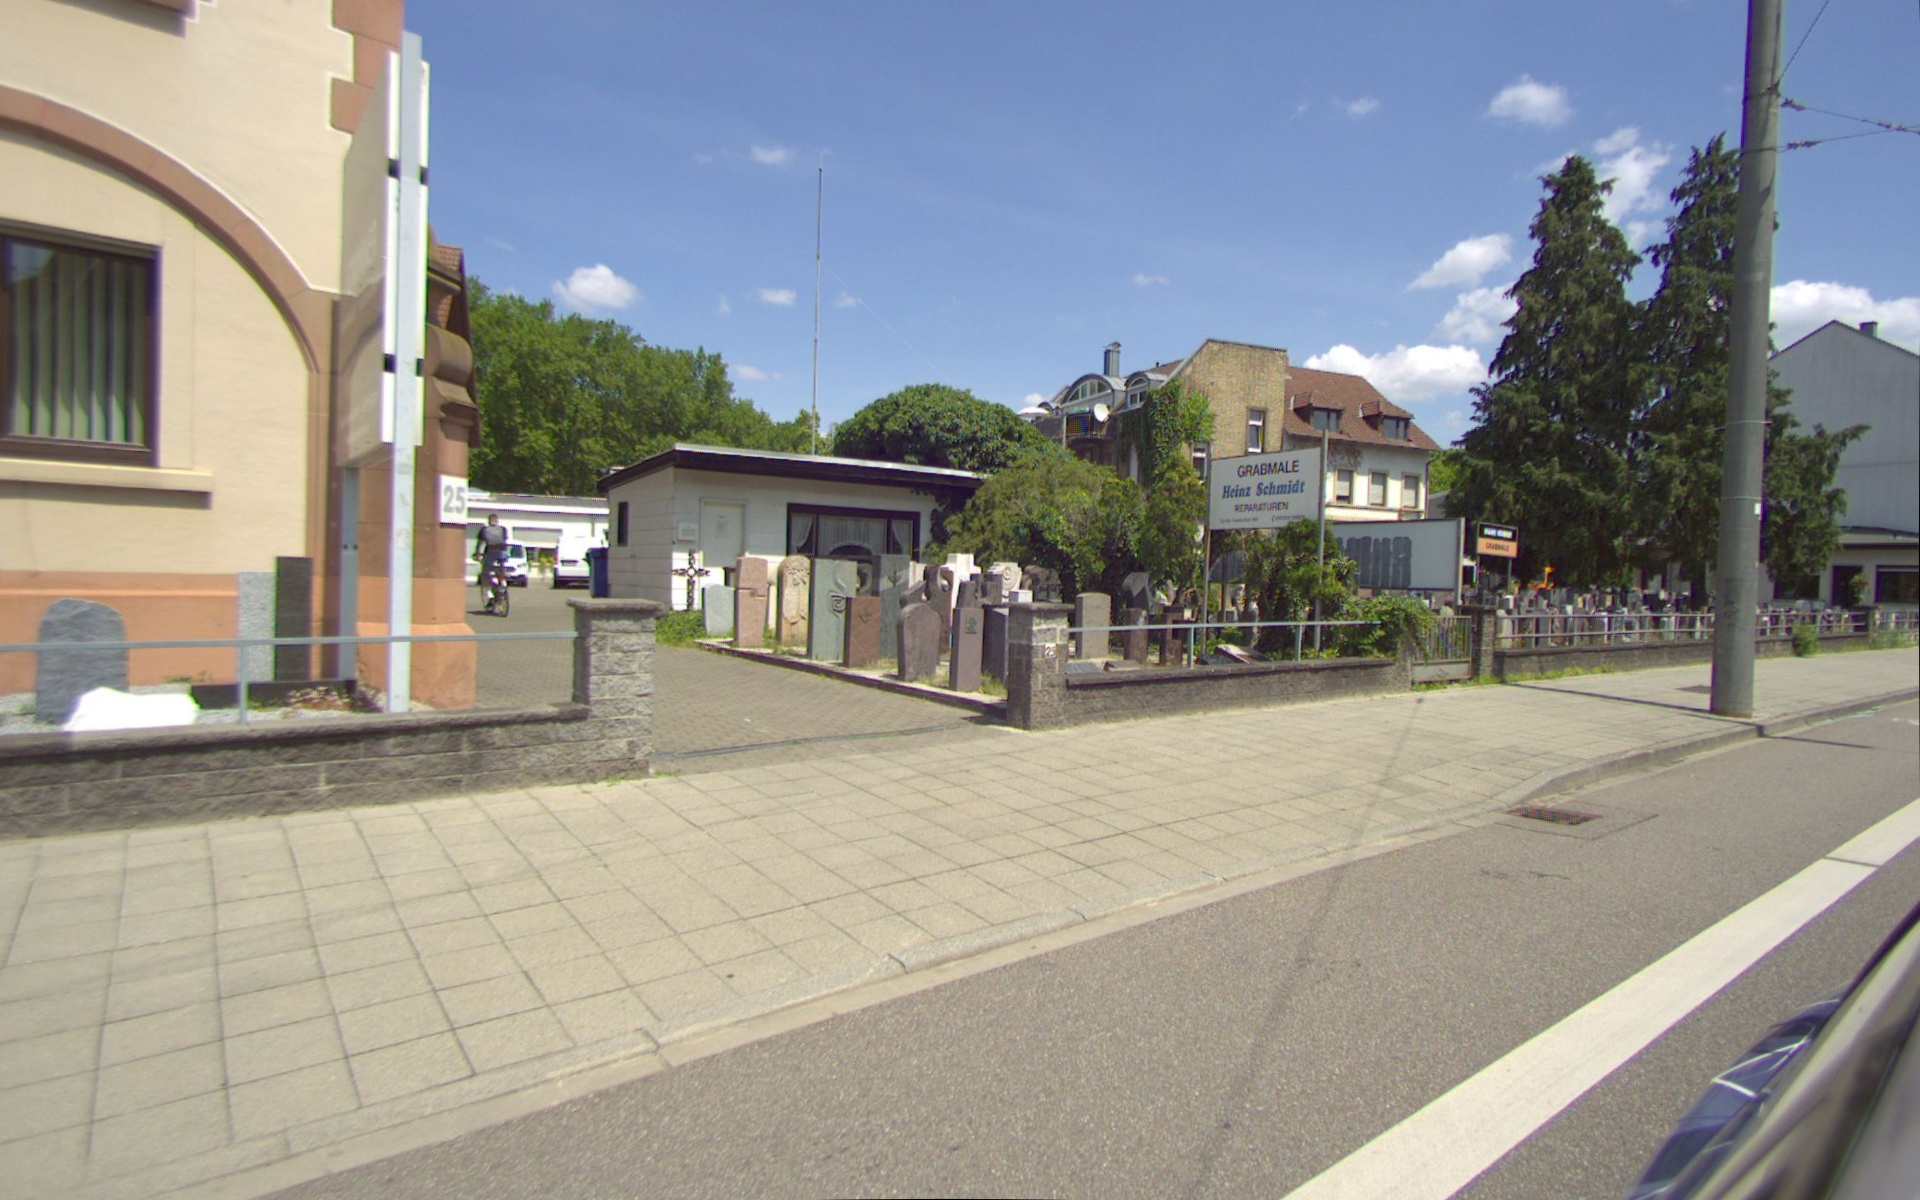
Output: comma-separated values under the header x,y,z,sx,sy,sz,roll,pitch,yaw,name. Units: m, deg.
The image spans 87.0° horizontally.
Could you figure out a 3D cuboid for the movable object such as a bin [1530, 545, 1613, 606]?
x,y,z,sx,sy,sz,roll,pitch,yaw,name
28.231,-1.138,46.699,3.735,2.650,1.747,0,4,-34,movable object such as a bin
